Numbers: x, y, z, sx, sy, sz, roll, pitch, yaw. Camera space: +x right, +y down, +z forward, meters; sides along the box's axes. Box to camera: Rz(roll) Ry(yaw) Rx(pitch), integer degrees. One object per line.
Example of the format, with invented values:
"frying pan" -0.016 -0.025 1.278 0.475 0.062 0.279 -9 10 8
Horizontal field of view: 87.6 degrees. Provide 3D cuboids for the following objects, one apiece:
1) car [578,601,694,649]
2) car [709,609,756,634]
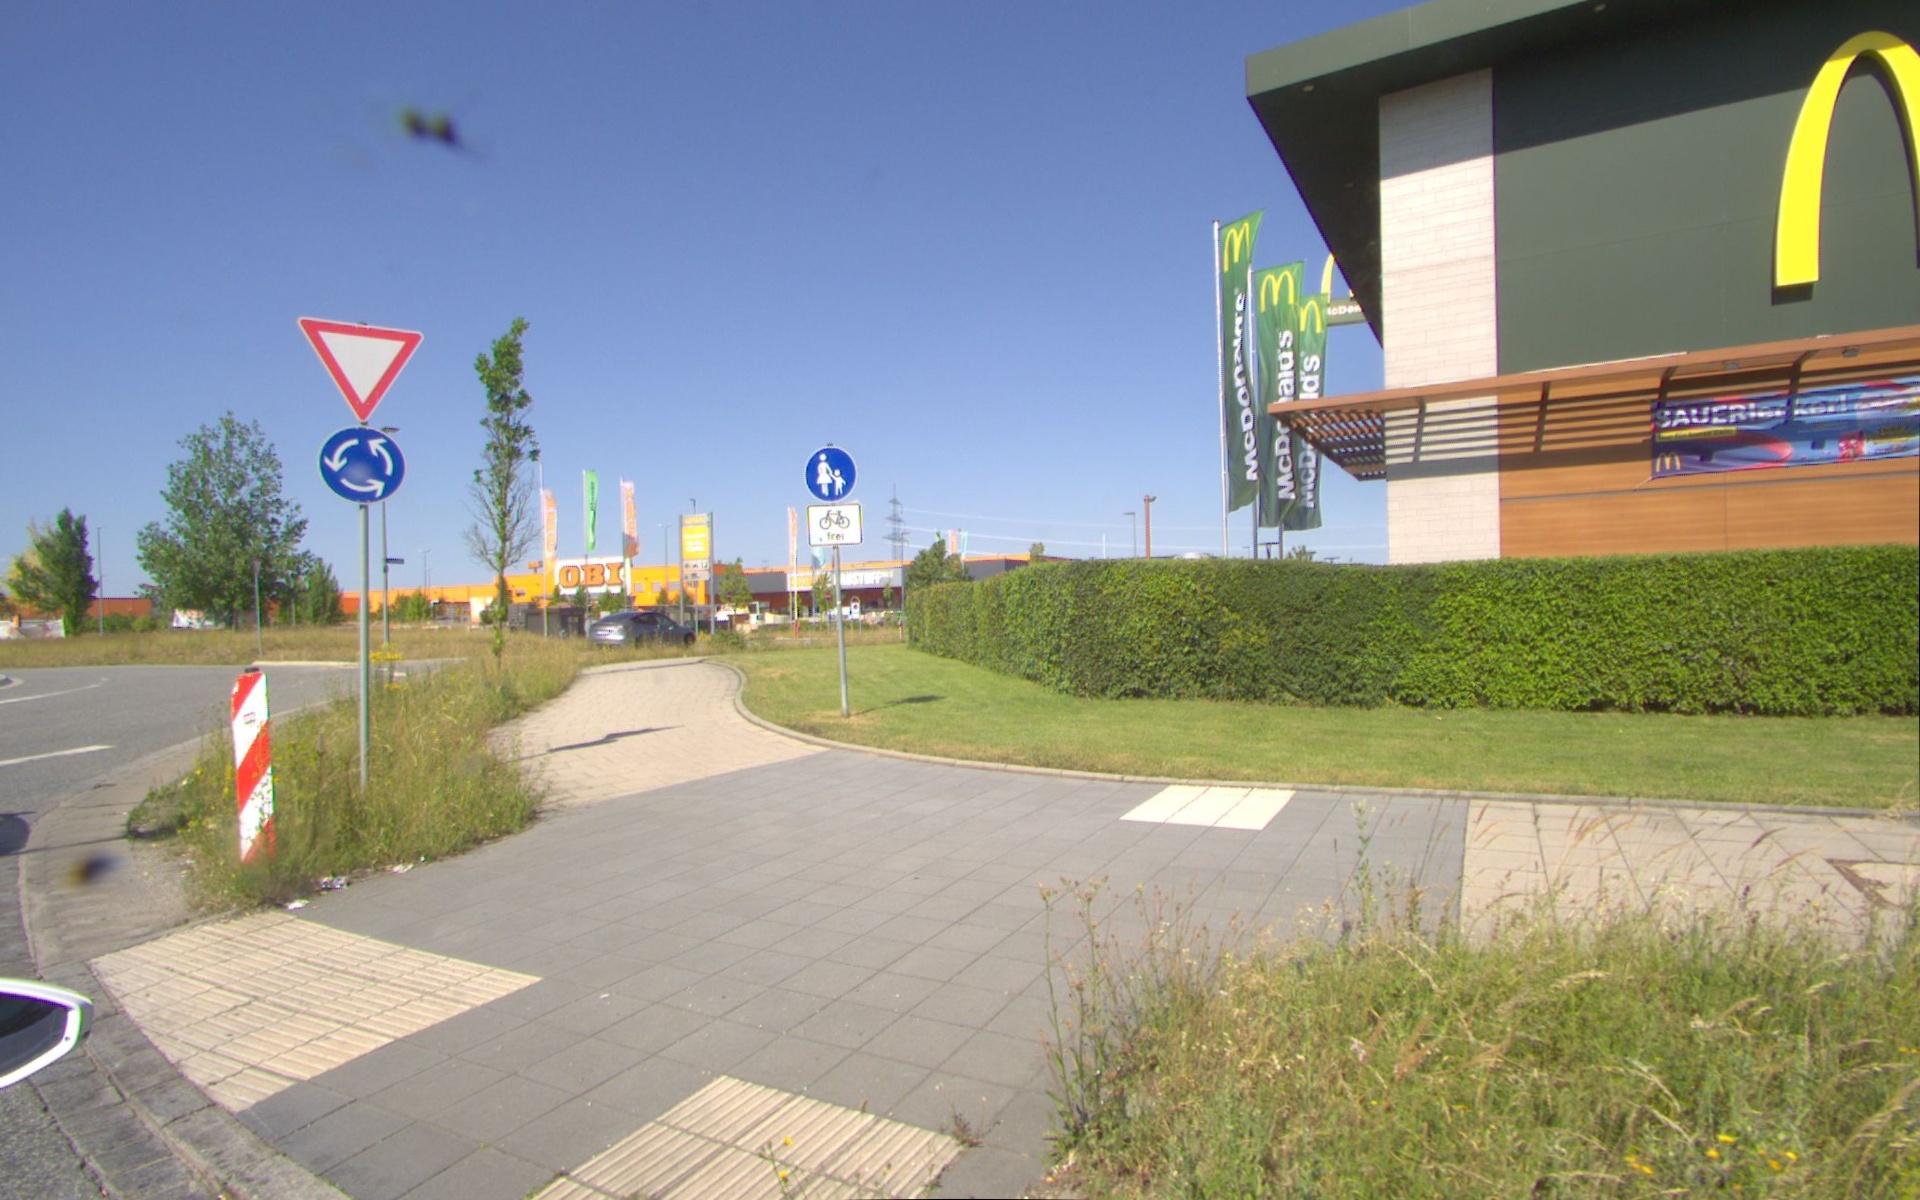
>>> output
"car" -11.641 0.881 36.307 1.800 1.605 4.158 -1 -1 21
"car" -17.742 1.724 78.127 1.673 1.864 3.764 -1 -2 25
